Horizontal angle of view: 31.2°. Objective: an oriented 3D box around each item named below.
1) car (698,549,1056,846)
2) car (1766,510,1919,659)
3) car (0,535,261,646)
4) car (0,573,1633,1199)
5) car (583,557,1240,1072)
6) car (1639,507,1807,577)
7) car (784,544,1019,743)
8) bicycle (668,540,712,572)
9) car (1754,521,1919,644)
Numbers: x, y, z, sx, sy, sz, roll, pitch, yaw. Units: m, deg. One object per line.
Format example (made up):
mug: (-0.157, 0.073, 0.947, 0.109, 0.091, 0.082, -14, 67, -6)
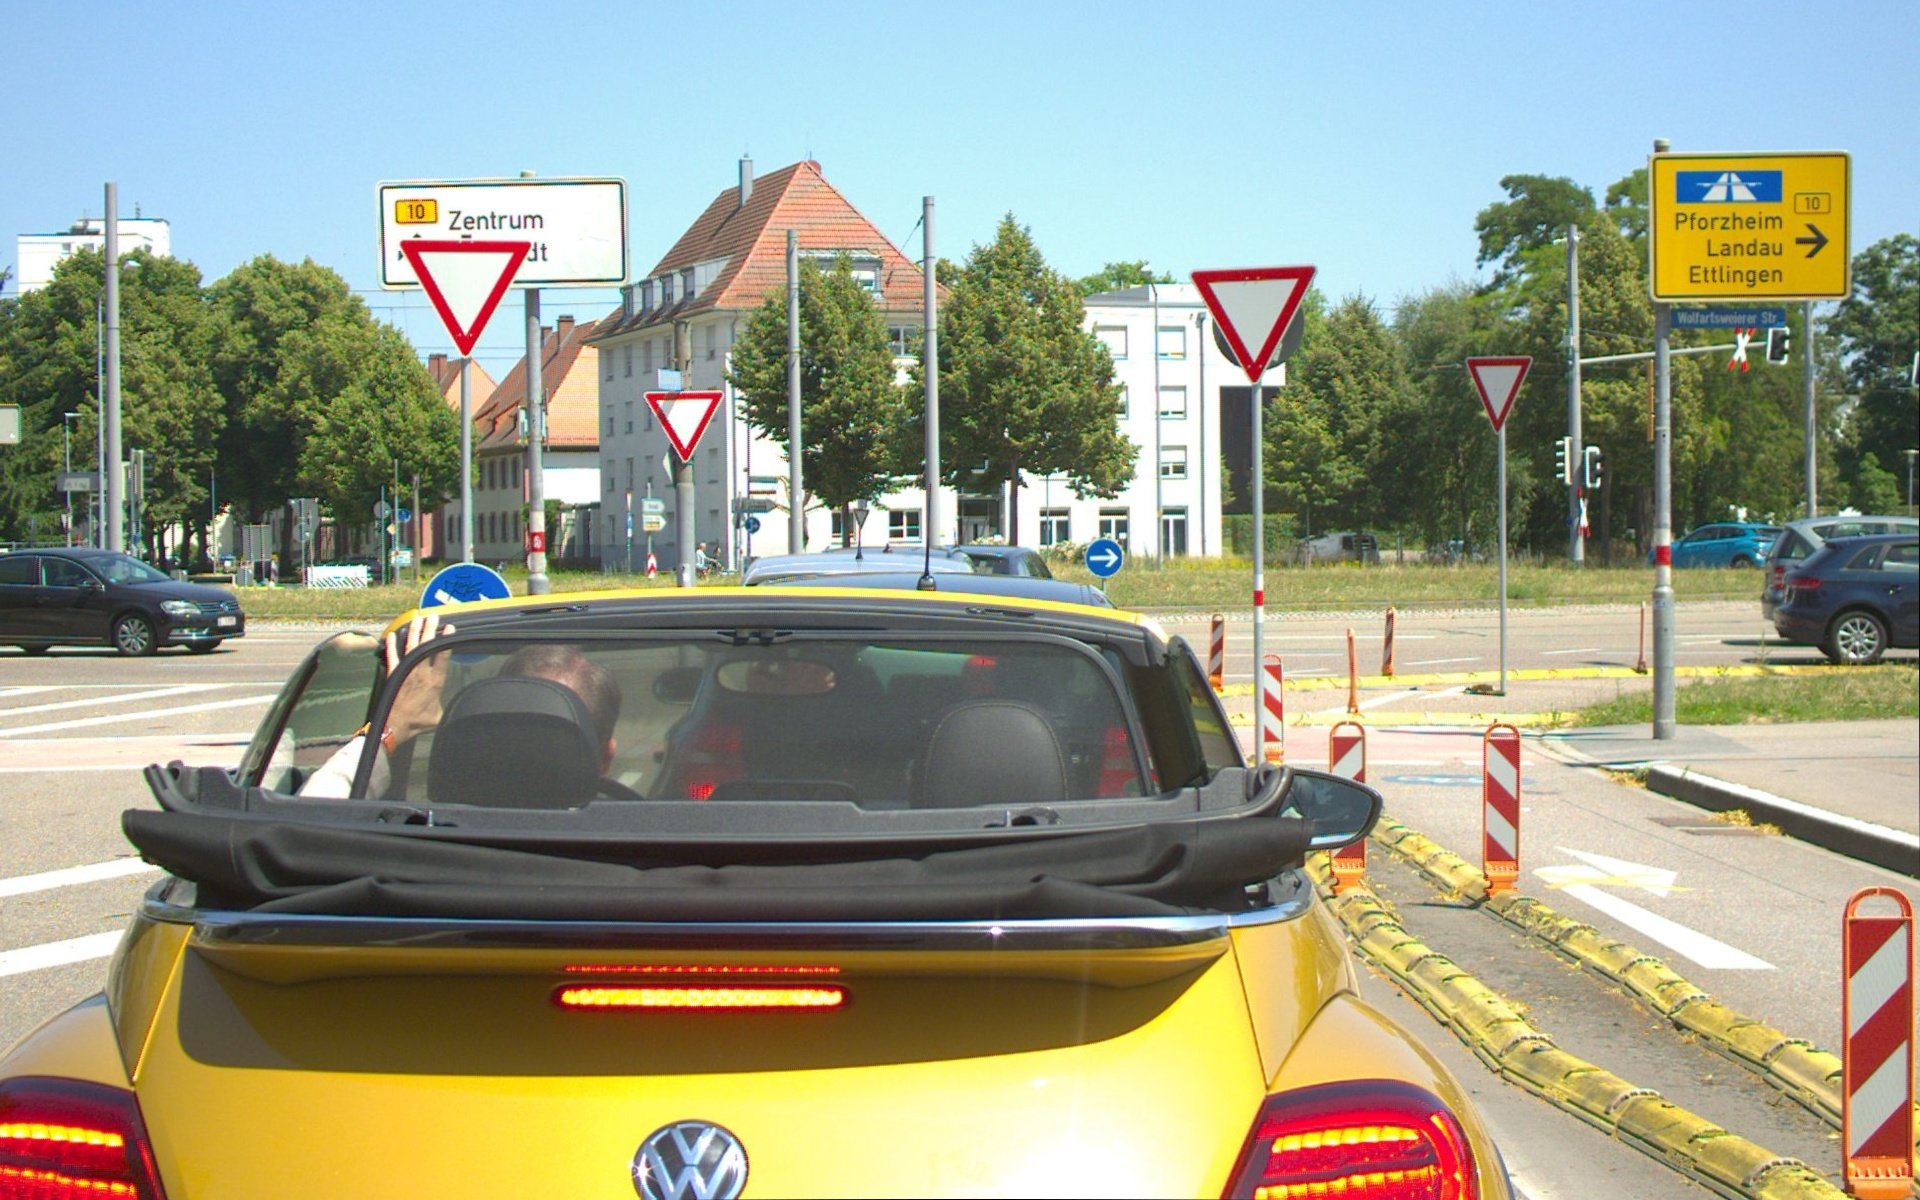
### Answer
car: (-0.424, 0.443, 18.702, 1.736, 1.437, 4.000, 0, 1, -1)
car: (11.043, -0.179, 38.026, 4.000, 1.614, 1.736, 0, 1, 8)
car: (-11.896, -0.155, 46.661, 4.524, 1.442, 1.821, 1, 1, 24)
car: (-0.319, 0.687, 4.887, 1.752, 1.417, 3.778, 0, 1, -1)
car: (-0.156, 0.581, 11.689, 1.848, 1.437, 4.000, 0, 1, -1)
car: (20.397, -1.543, 91.965, 1.994, 1.831, 3.999, 0, 1, -40)
car: (-0.452, 0.294, 27.503, 1.736, 1.472, 4.000, 0, 1, -1)
bicycle: (-9.217, -1.503, 117.474, 1.465, 1.067, 0.499, 0, 1, -9)
car: (11.956, -0.220, 42.436, 3.988, 1.491, 1.800, 0, 1, 6)
